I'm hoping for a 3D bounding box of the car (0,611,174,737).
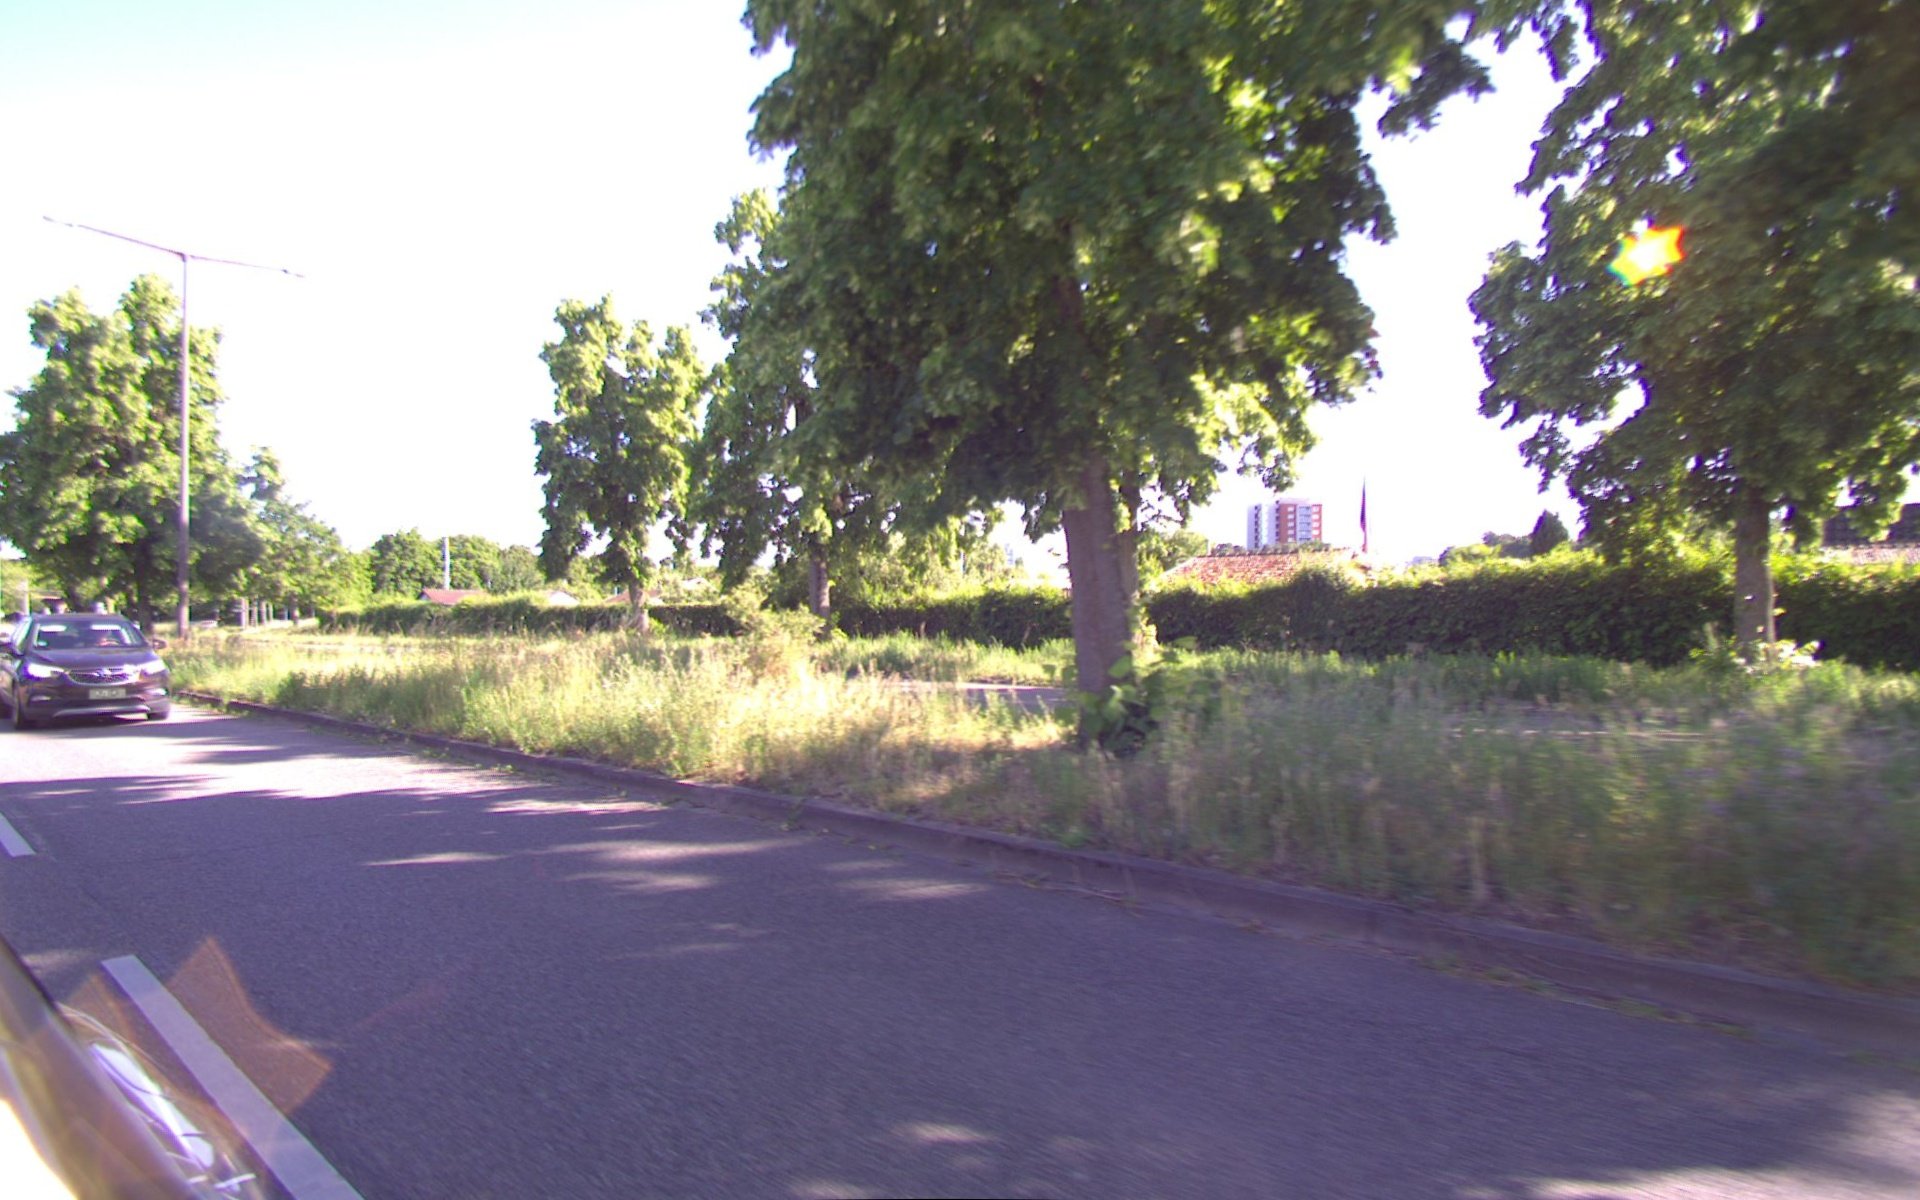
[{"bbox_3d":[-13.506,1.038,15.449,3.854,1.675,1.691,-2,-2,41],"label":"car"}]

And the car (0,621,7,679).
[{"bbox_3d":[-29.189,1.464,29.409,4.090,1.626,1.807,-2,-1,41],"label":"car"}]

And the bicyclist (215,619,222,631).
[{"bbox_3d":[-79.914,2.644,109.016,0.575,1.266,0.577,-1,-1,-37],"label":"bicyclist"}]

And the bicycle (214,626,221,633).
[{"bbox_3d":[-79.944,3.151,109.001,0.557,0.700,1.879,-1,0,-37],"label":"bicycle"}]
